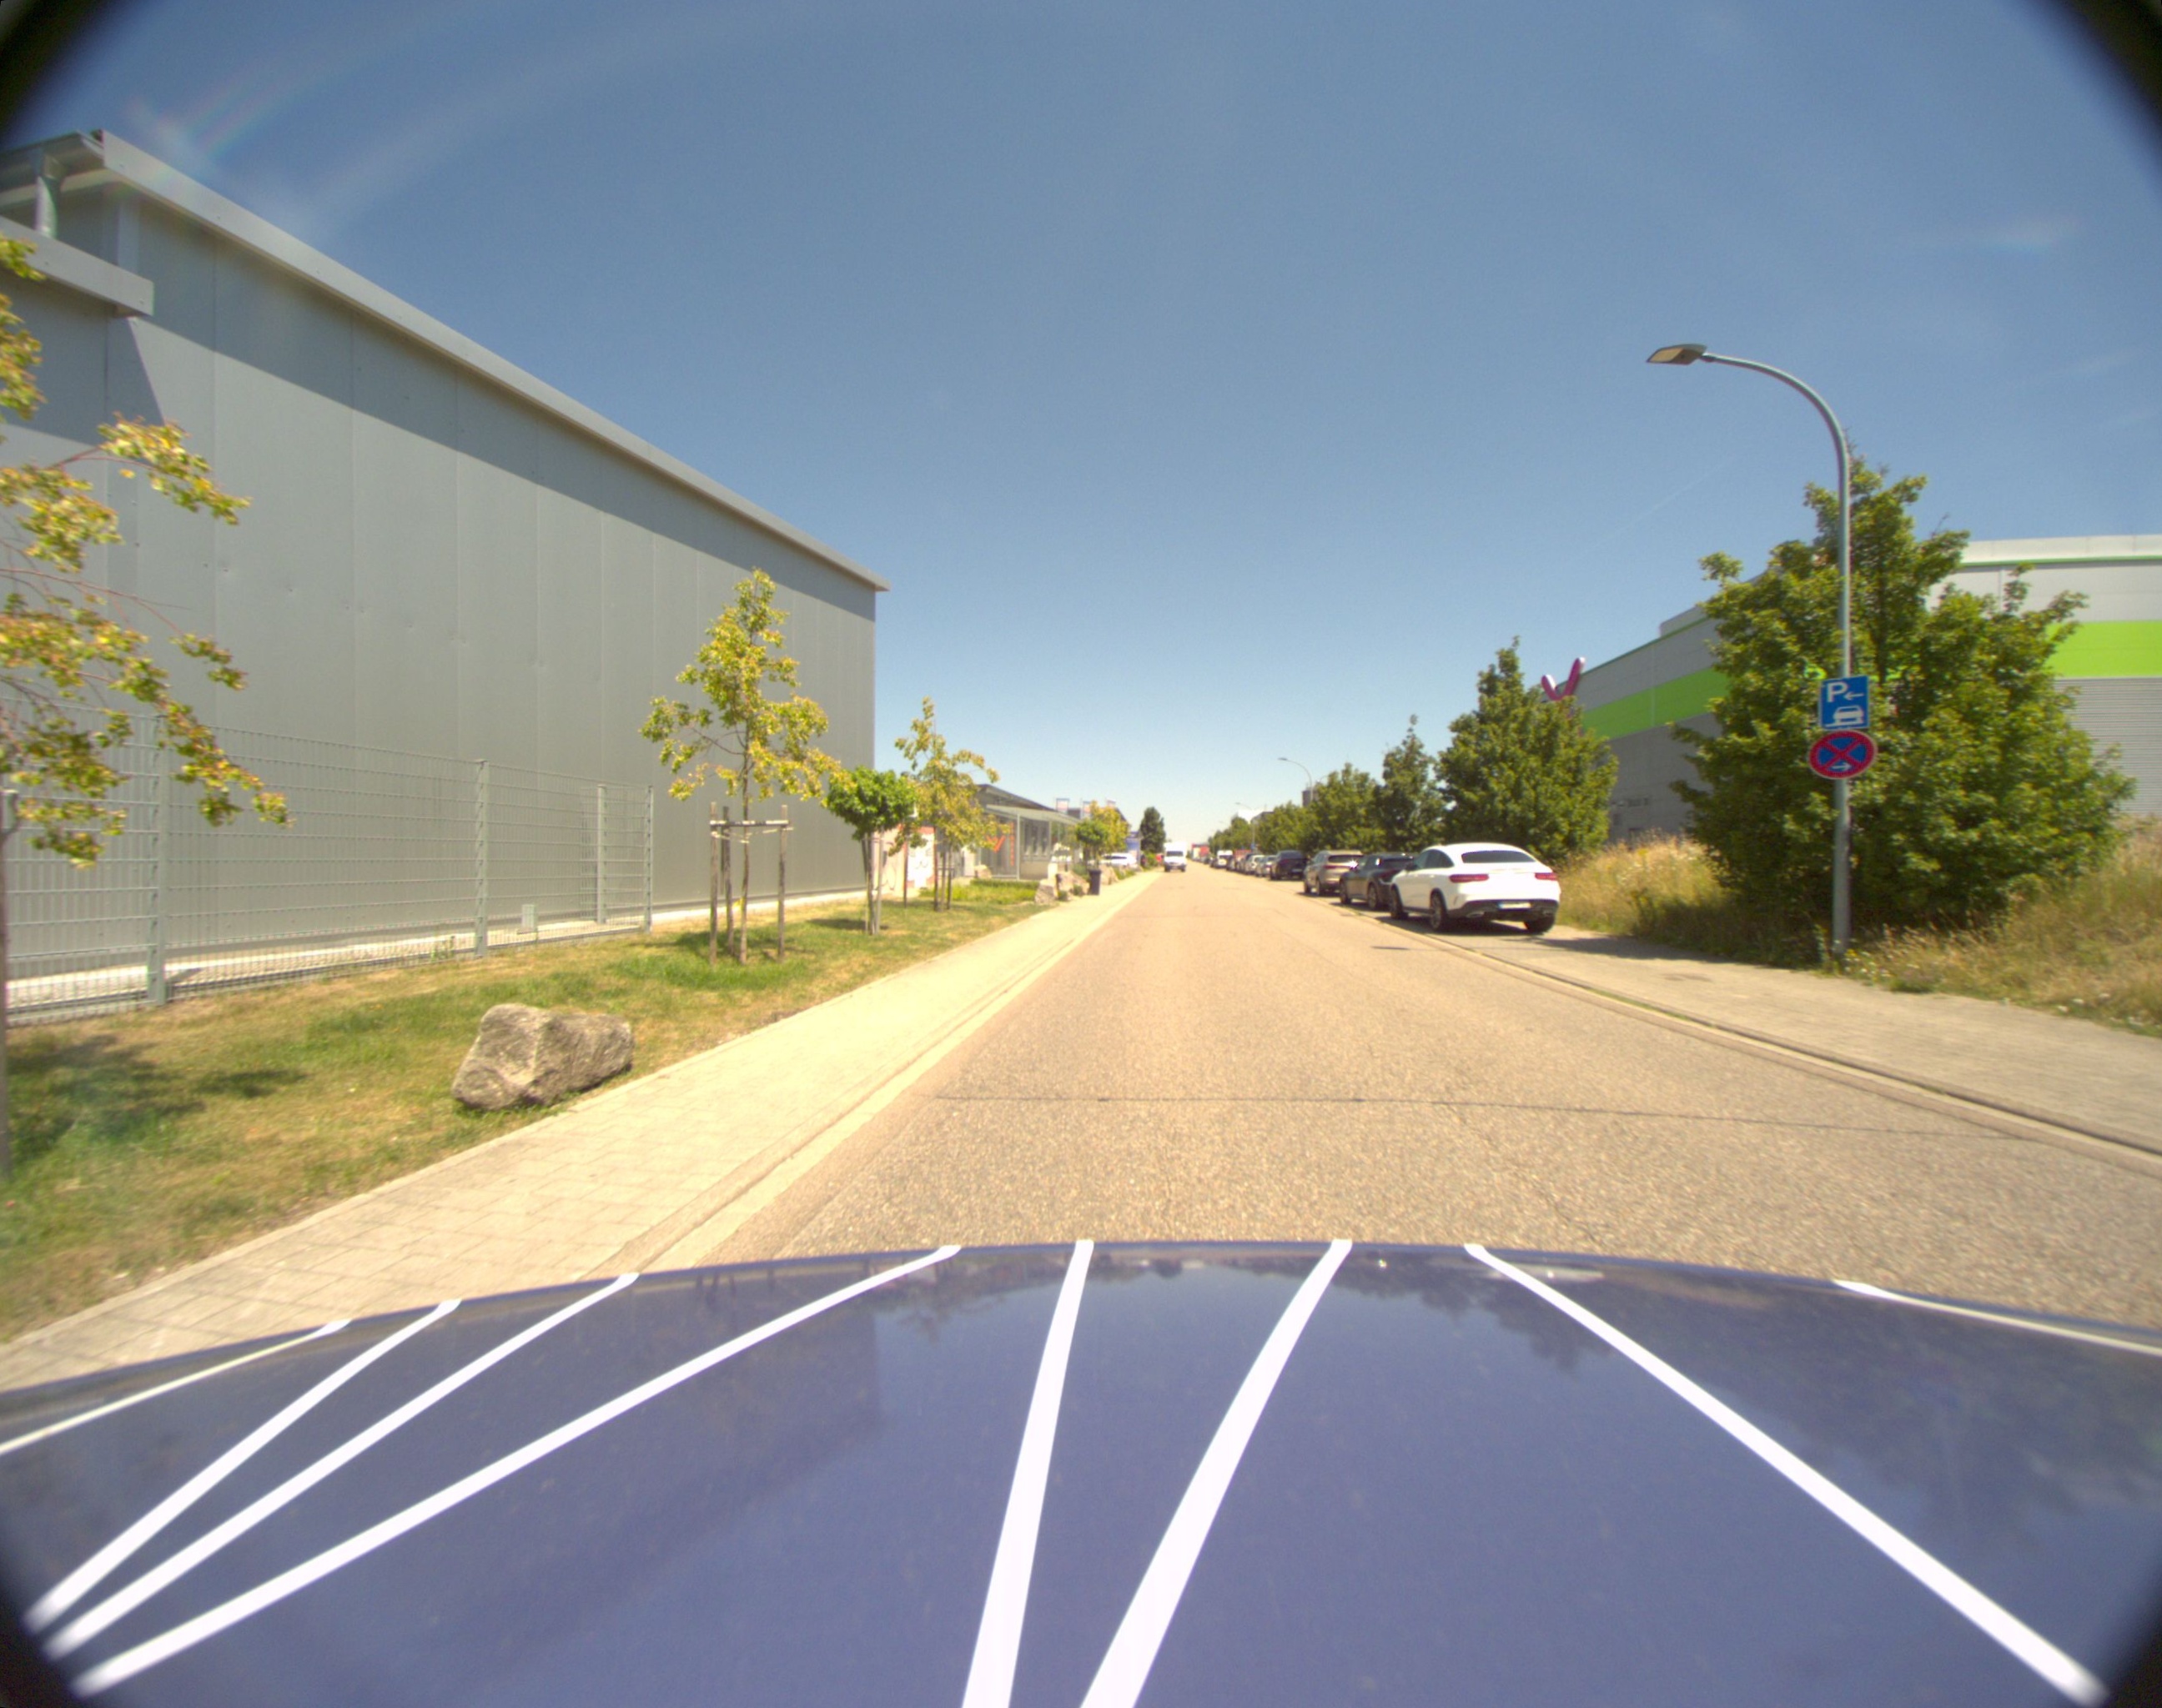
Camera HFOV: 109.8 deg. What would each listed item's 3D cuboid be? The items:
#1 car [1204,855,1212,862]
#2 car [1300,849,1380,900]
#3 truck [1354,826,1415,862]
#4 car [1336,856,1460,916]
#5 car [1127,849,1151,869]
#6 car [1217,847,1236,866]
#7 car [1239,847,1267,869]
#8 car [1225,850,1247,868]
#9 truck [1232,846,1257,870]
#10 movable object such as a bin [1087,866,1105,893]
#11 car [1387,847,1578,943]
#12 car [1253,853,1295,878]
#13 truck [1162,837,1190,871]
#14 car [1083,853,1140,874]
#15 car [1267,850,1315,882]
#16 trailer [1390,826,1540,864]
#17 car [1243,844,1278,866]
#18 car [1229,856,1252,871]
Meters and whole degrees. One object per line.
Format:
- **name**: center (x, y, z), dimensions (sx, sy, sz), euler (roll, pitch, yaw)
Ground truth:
- **car**: center (29.291, 1.075, 175.354), dimensions (1.797, 1.638, 3.833), euler (0, 0, 7)
- **car**: center (9.418, 0.704, 27.990), dimensions (1.916, 1.703, 4.415), euler (-1, 0, 7)
- **truck**: center (35.867, -1.192, 89.999), dimensions (6.116, 4.064, 3.221), euler (1, 0, 9)
- **car**: center (8.712, 0.810, 21.318), dimensions (1.916, 1.483, 4.414), euler (1, 0, 5)
- **car**: center (6.200, 0.476, 80.785), dimensions (1.997, 2.002, 5.341), euler (-2, 0, 9)
- **car**: center (20.115, 0.362, 105.438), dimensions (2.327, 2.583, 6.089), euler (-1, 0, 9)
- **car**: center (14.244, 0.308, 63.014), dimensions (1.855, 1.748, 4.990), euler (-1, 0, 8)
- **car**: center (17.215, 0.546, 84.481), dimensions (1.977, 1.889, 5.405), euler (0, 0, 8)
- **truck**: center (15.803, 0.365, 73.575), dimensions (1.855, 2.209, 4.648), euler (-1, 0, 7)
- **movable object such as a bin**: center (0.530, 0.911, 27.044), dimensions (0.559, 0.941, 0.539), euler (1, 1, 6)
- **car**: center (7.956, 0.732, 15.649), dimensions (1.916, 1.645, 4.758), euler (1, 0, 7)
- **car**: center (12.830, 0.725, 50.817), dimensions (1.855, 1.510, 5.169), euler (-1, 0, 5)
- **truck**: center (9.405, -0.024, 74.629), dimensions (2.461, 3.187, 6.887), euler (1, 0, 9)
- **car**: center (2.349, 0.711, 57.953), dimensions (4.288, 1.532, 1.914), euler (1, 0, 5)
- **car**: center (12.078, 0.677, 43.999), dimensions (1.995, 1.703, 5.010), euler (-1, 0, 8)
- **trailer**: center (44.545, -1.054, 88.679), dimensions (15.348, 4.064, 3.221), euler (1, 0, 9)
- **car**: center (13.397, 0.082, 57.014), dimensions (1.855, 1.510, 4.907), euler (-1, 0, 5)
- **car**: center (16.438, 0.960, 78.308), dimensions (1.855, 1.541, 3.769), euler (-1, 0, 6)
